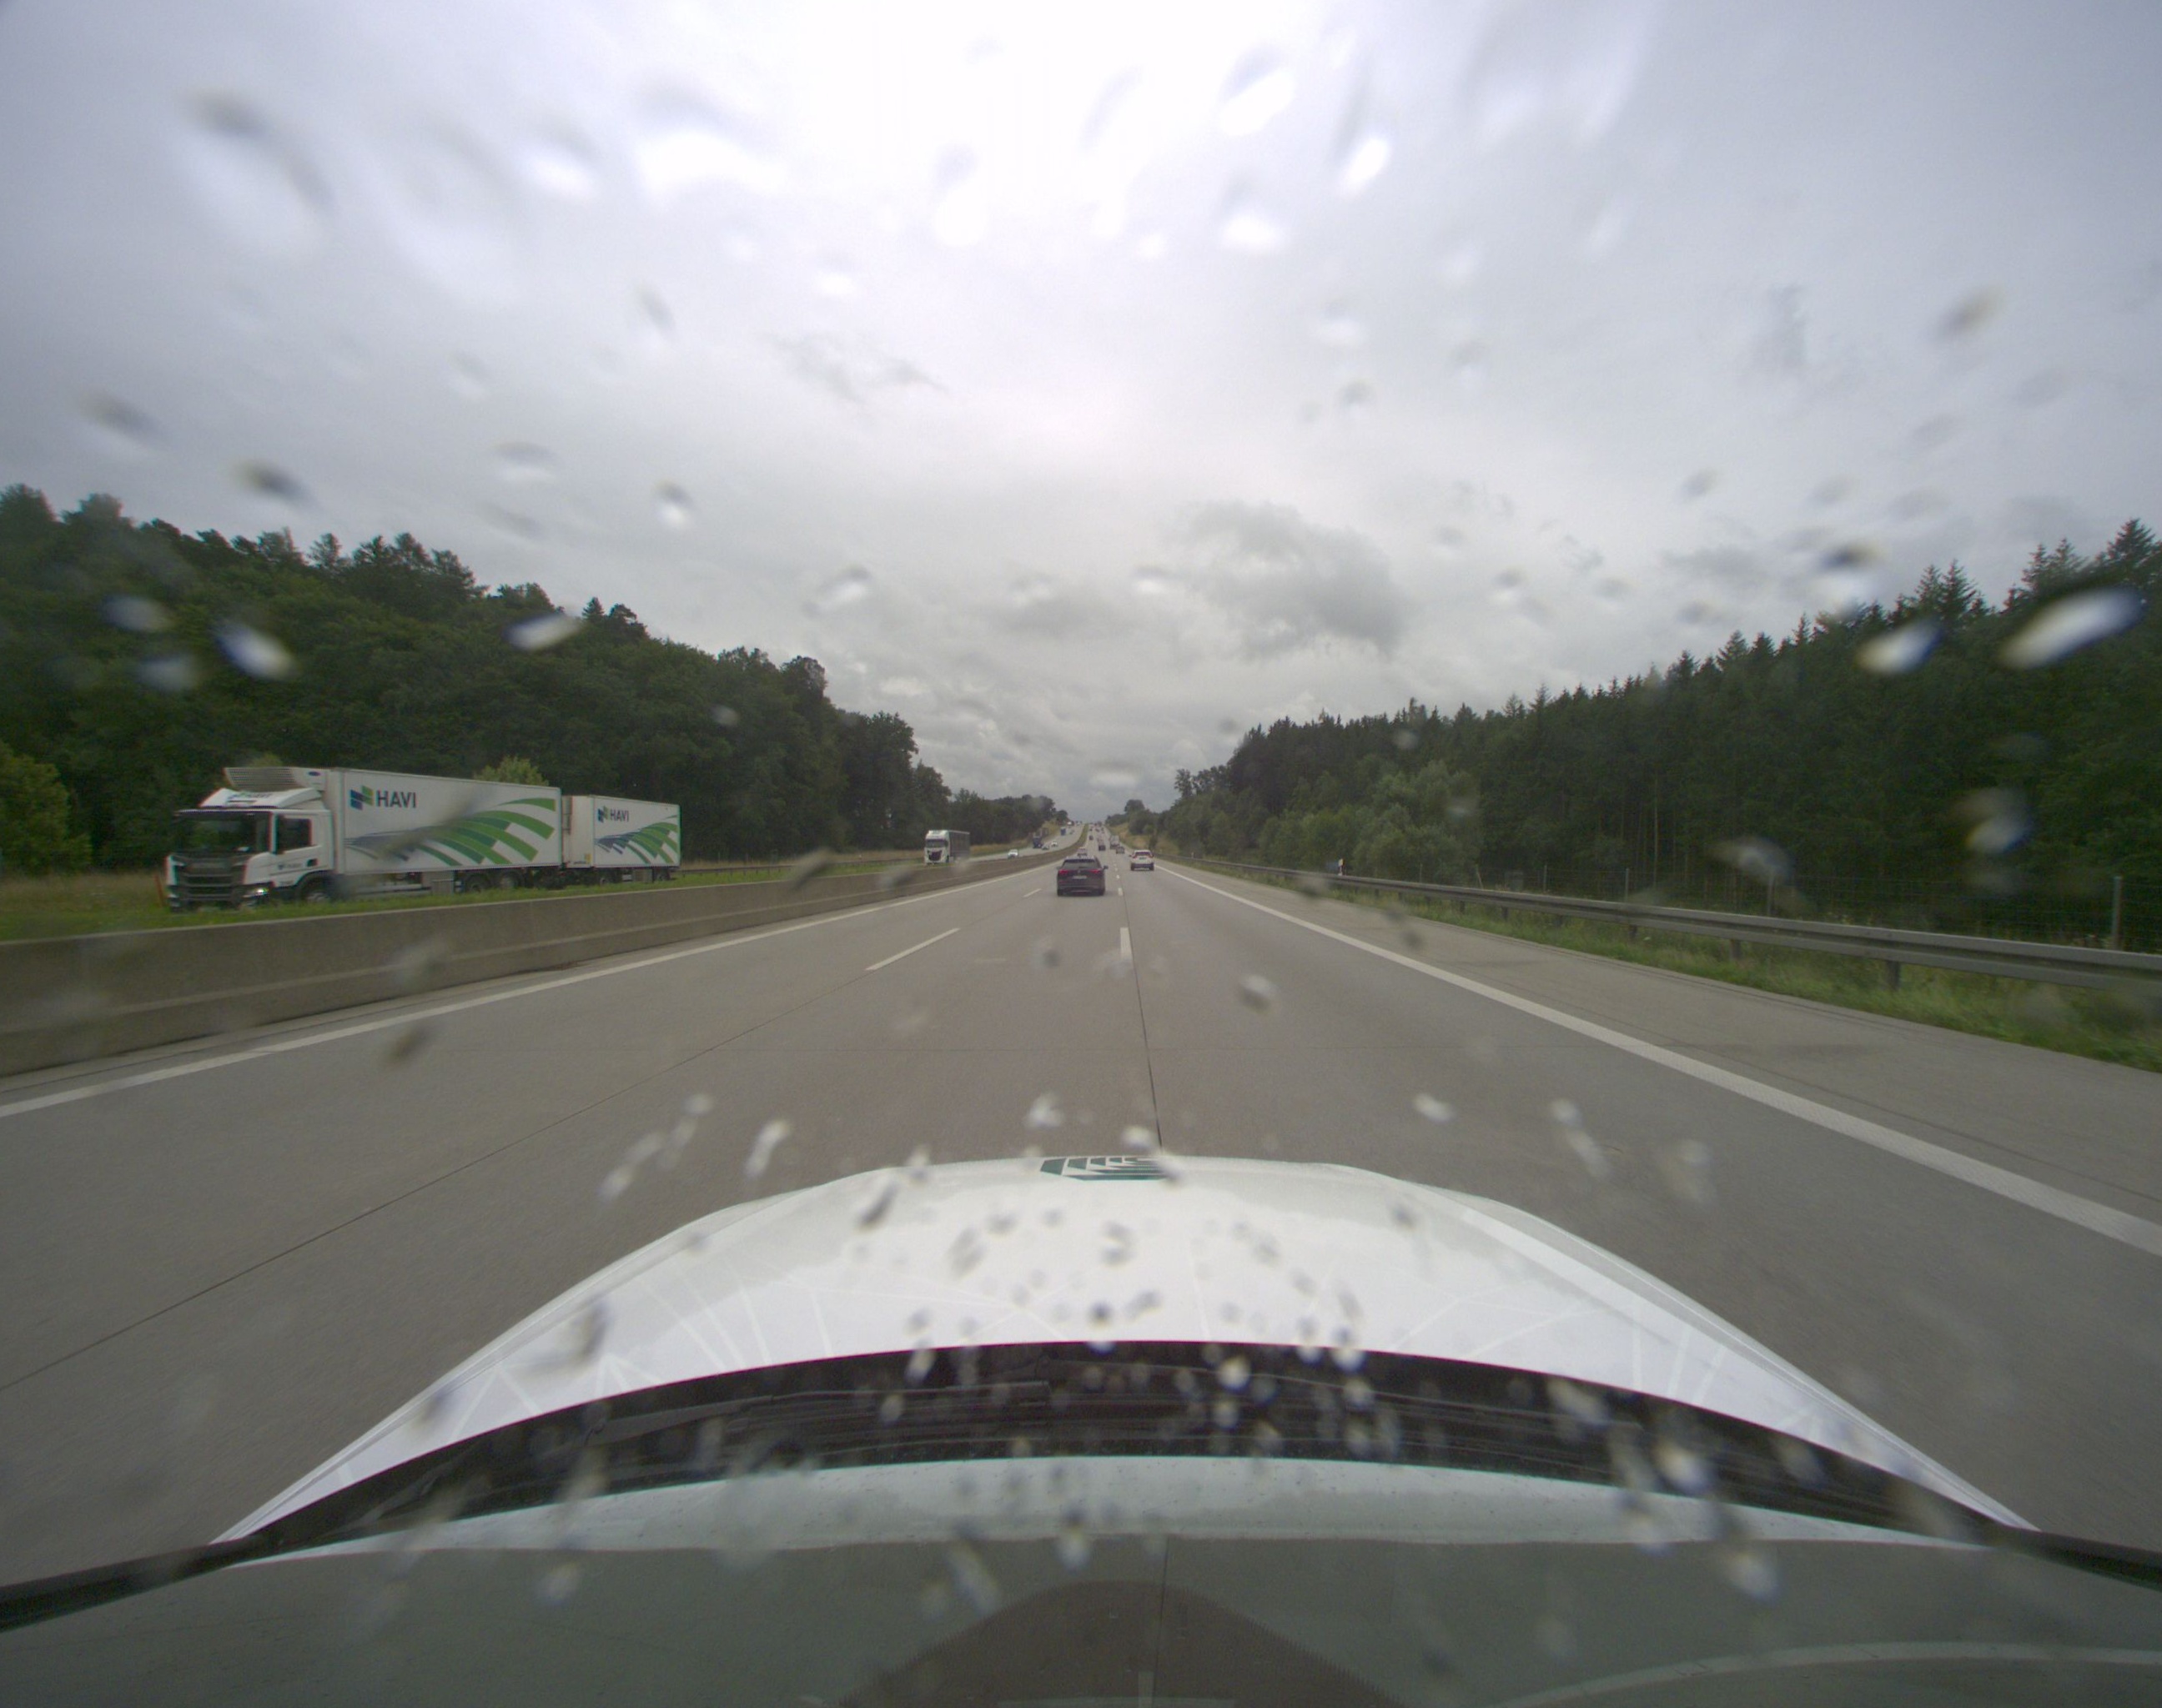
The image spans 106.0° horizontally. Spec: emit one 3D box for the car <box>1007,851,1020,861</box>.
[{"bbox_3d":[-11.392,0.305,138.212,1.777,1.468,4.373,-1,1,1],"label":"car"}]

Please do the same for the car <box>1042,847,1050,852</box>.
[{"bbox_3d":[-9.786,-1.368,227.922,1.842,1.376,4.435,0,1,-1],"label":"car"}]

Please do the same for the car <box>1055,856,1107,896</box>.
[{"bbox_3d":[0.071,0.771,30.876,1.745,1.398,4.486,0,0,2],"label":"car"}]

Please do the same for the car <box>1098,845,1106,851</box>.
[{"bbox_3d":[5.395,-1.575,206.793,1.928,1.375,4.597,0,1,2],"label":"car"}]

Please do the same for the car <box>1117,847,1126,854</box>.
[{"bbox_3d":[8.559,-0.785,172.874,1.985,1.530,4.003,1,0,3],"label":"car"}]

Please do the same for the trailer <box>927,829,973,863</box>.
[{"bbox_3d":[-16.703,-1.032,104.825,3.223,4.052,14.137,0,1,2],"label":"trailer"}]

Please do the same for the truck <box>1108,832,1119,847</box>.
[{"bbox_3d":[9.157,-4.202,229.428,3.007,4.179,8.356,0,2,1],"label":"truck"}]

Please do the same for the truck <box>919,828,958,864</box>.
[{"bbox_3d":[-16.967,-0.955,97.364,3.201,4.057,7.168,0,0,2],"label":"truck"}]

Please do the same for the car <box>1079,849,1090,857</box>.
[{"bbox_3d":[0.629,-0.216,155.441,1.940,1.356,4.262,-1,0,2],"label":"car"}]

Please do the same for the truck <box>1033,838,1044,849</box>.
[{"bbox_3d":[-13.021,-3.192,249.550,2.747,3.516,6.642,0,0,1],"label":"truck"}]

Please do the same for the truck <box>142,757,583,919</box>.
[{"bbox_3d":[-20.232,-0.377,24.658,2.801,3.772,11.359,0,0,3],"label":"truck"}]

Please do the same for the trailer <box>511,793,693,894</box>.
[{"bbox_3d":[-19.726,-0.428,34.257,2.807,3.782,7.721,0,0,3],"label":"trailer"}]

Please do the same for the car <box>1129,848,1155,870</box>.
[{"bbox_3d":[4.898,0.394,65.921,1.820,1.655,3.984,-1,0,0],"label":"car"}]
